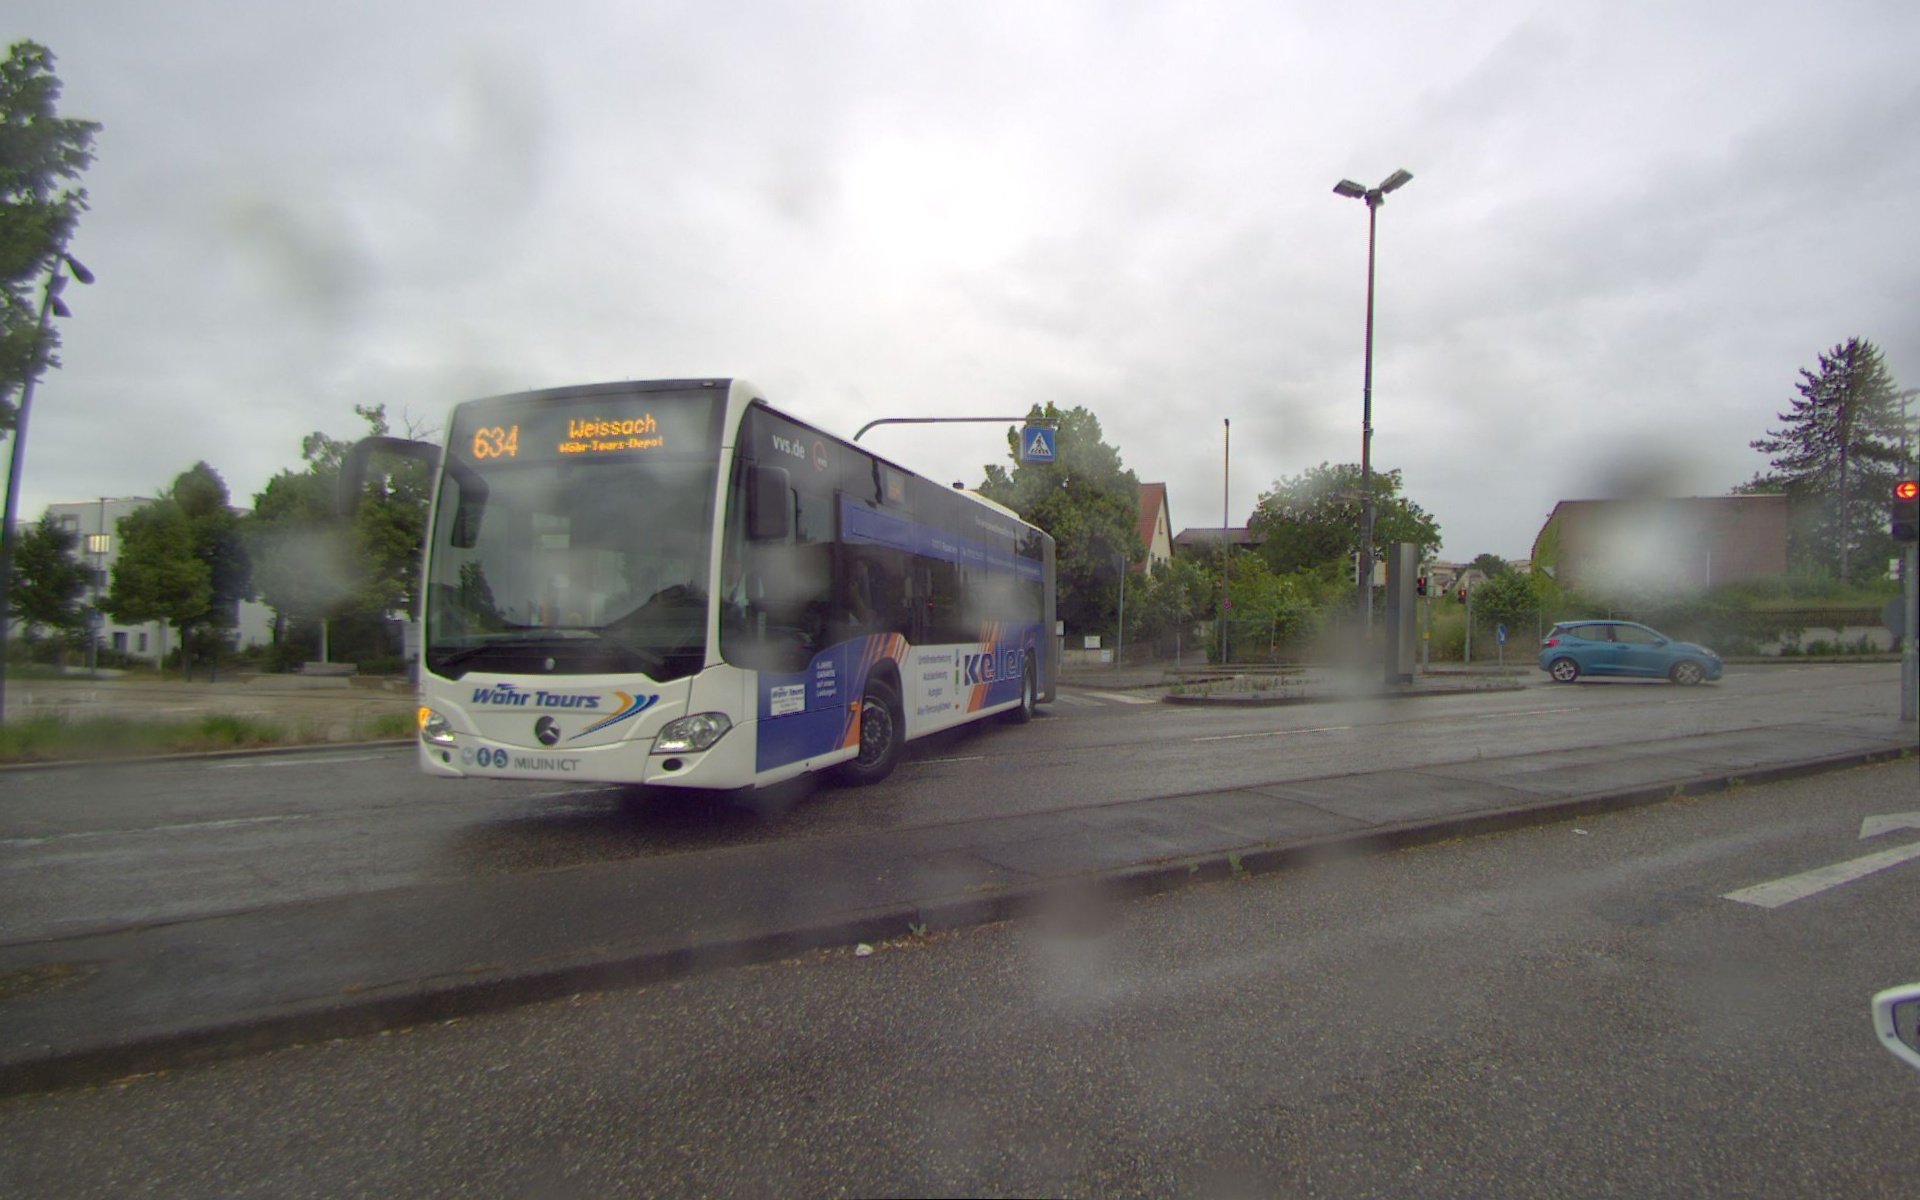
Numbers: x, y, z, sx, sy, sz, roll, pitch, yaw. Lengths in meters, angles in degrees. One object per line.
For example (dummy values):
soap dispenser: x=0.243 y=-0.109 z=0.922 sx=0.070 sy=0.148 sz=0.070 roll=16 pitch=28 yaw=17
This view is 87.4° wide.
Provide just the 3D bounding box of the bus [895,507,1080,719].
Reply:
bus: x=0.491 y=0.332 z=19.766 sx=2.730 sy=3.155 sz=9.371 roll=1 pitch=-2 yaw=1

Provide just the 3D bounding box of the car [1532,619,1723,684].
car: x=15.861 y=1.206 z=24.087 sx=3.683 sy=1.437 sz=1.763 roll=-1 pitch=-2 yaw=31

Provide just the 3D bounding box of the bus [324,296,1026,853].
bus: x=-1.543 y=-0.014 z=10.333 sx=2.744 sy=3.155 sz=8.889 roll=0 pitch=-2 yaw=15
